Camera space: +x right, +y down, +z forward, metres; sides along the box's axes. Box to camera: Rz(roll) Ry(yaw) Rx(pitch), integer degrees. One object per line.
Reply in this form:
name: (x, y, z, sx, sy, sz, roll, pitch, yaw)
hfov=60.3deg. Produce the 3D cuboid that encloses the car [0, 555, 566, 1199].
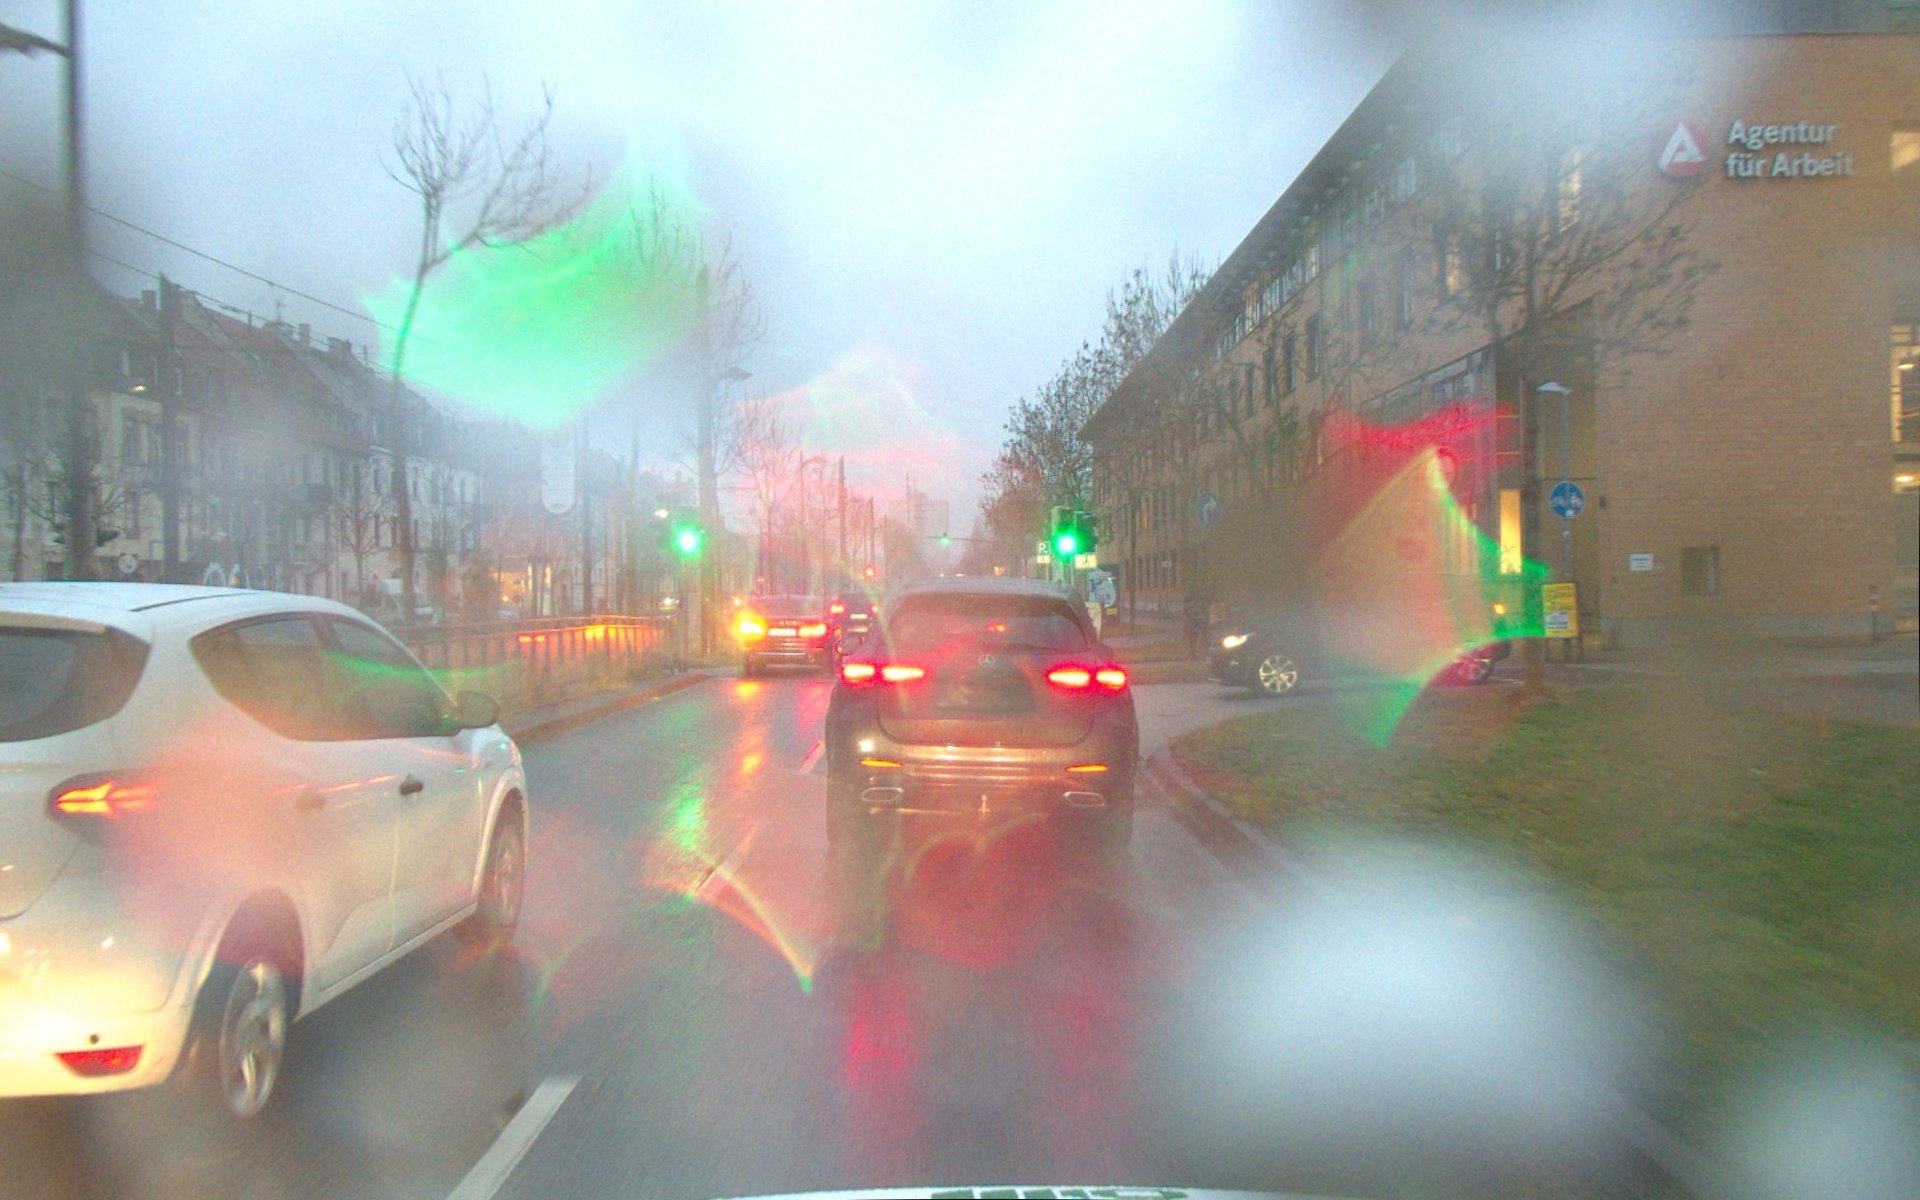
car: (-2.605, 0.655, 5.575, 1.593, 1.513, 4.000, -2, 1, -1)

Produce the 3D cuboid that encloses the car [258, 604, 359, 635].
car: (-28.422, 0.849, 72.207, 3.694, 1.176, 1.650, -2, 0, 5)

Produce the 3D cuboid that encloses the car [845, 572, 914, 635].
car: (-2.425, 0.090, 50.755, 1.953, 1.796, 3.999, -2, 0, -1)

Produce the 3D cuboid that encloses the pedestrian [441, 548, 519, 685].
pedestrian: (-5.692, 0.188, 19.647, 0.684, 1.579, 0.668, -2, 0, -1)

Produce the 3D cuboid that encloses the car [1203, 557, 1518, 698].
car: (5.352, 0.350, 22.461, 3.781, 1.587, 1.765, -4, 0, 1)

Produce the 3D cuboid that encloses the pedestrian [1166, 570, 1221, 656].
pedestrian: (4.494, 0.251, 31.861, 0.888, 1.624, 0.499, -2, 0, 42)

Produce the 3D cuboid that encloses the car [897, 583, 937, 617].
car: (-2.146, -0.008, 83.631, 1.953, 1.646, 3.999, -2, 0, -1)

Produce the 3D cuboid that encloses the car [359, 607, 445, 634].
car: (-27.772, 1.002, 82.360, 3.694, 1.176, 1.650, -2, 0, 5)

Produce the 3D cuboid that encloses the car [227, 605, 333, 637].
car: (-28.513, 0.858, 69.391, 3.694, 1.176, 1.650, -2, 0, 5)

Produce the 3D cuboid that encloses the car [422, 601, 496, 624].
car: (-28.813, 0.711, 95.232, 3.694, 1.176, 1.650, -2, 0, 5)

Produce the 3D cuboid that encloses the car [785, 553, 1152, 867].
car: (0.008, 0.581, 10.978, 1.950, 1.644, 3.999, -2, 0, -1)

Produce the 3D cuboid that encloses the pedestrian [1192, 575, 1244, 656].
pedestrian: (5.294, 0.320, 34.011, 0.888, 1.624, 0.499, -2, 0, 42)

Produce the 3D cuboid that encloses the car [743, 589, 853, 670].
car: (-3.085, 0.525, 32.017, 1.954, 1.422, 3.996, -2, 0, -4)

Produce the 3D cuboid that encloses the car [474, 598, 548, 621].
car: (-27.533, 0.573, 101.543, 3.902, 1.248, 2.001, -2, 0, 6)

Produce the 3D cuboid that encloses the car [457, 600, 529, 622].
car: (-27.811, 0.639, 98.546, 3.694, 1.176, 1.650, -2, 0, 5)

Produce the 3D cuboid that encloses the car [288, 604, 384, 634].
car: (-28.298, 0.869, 75.085, 3.694, 1.176, 1.650, -2, 0, 5)
